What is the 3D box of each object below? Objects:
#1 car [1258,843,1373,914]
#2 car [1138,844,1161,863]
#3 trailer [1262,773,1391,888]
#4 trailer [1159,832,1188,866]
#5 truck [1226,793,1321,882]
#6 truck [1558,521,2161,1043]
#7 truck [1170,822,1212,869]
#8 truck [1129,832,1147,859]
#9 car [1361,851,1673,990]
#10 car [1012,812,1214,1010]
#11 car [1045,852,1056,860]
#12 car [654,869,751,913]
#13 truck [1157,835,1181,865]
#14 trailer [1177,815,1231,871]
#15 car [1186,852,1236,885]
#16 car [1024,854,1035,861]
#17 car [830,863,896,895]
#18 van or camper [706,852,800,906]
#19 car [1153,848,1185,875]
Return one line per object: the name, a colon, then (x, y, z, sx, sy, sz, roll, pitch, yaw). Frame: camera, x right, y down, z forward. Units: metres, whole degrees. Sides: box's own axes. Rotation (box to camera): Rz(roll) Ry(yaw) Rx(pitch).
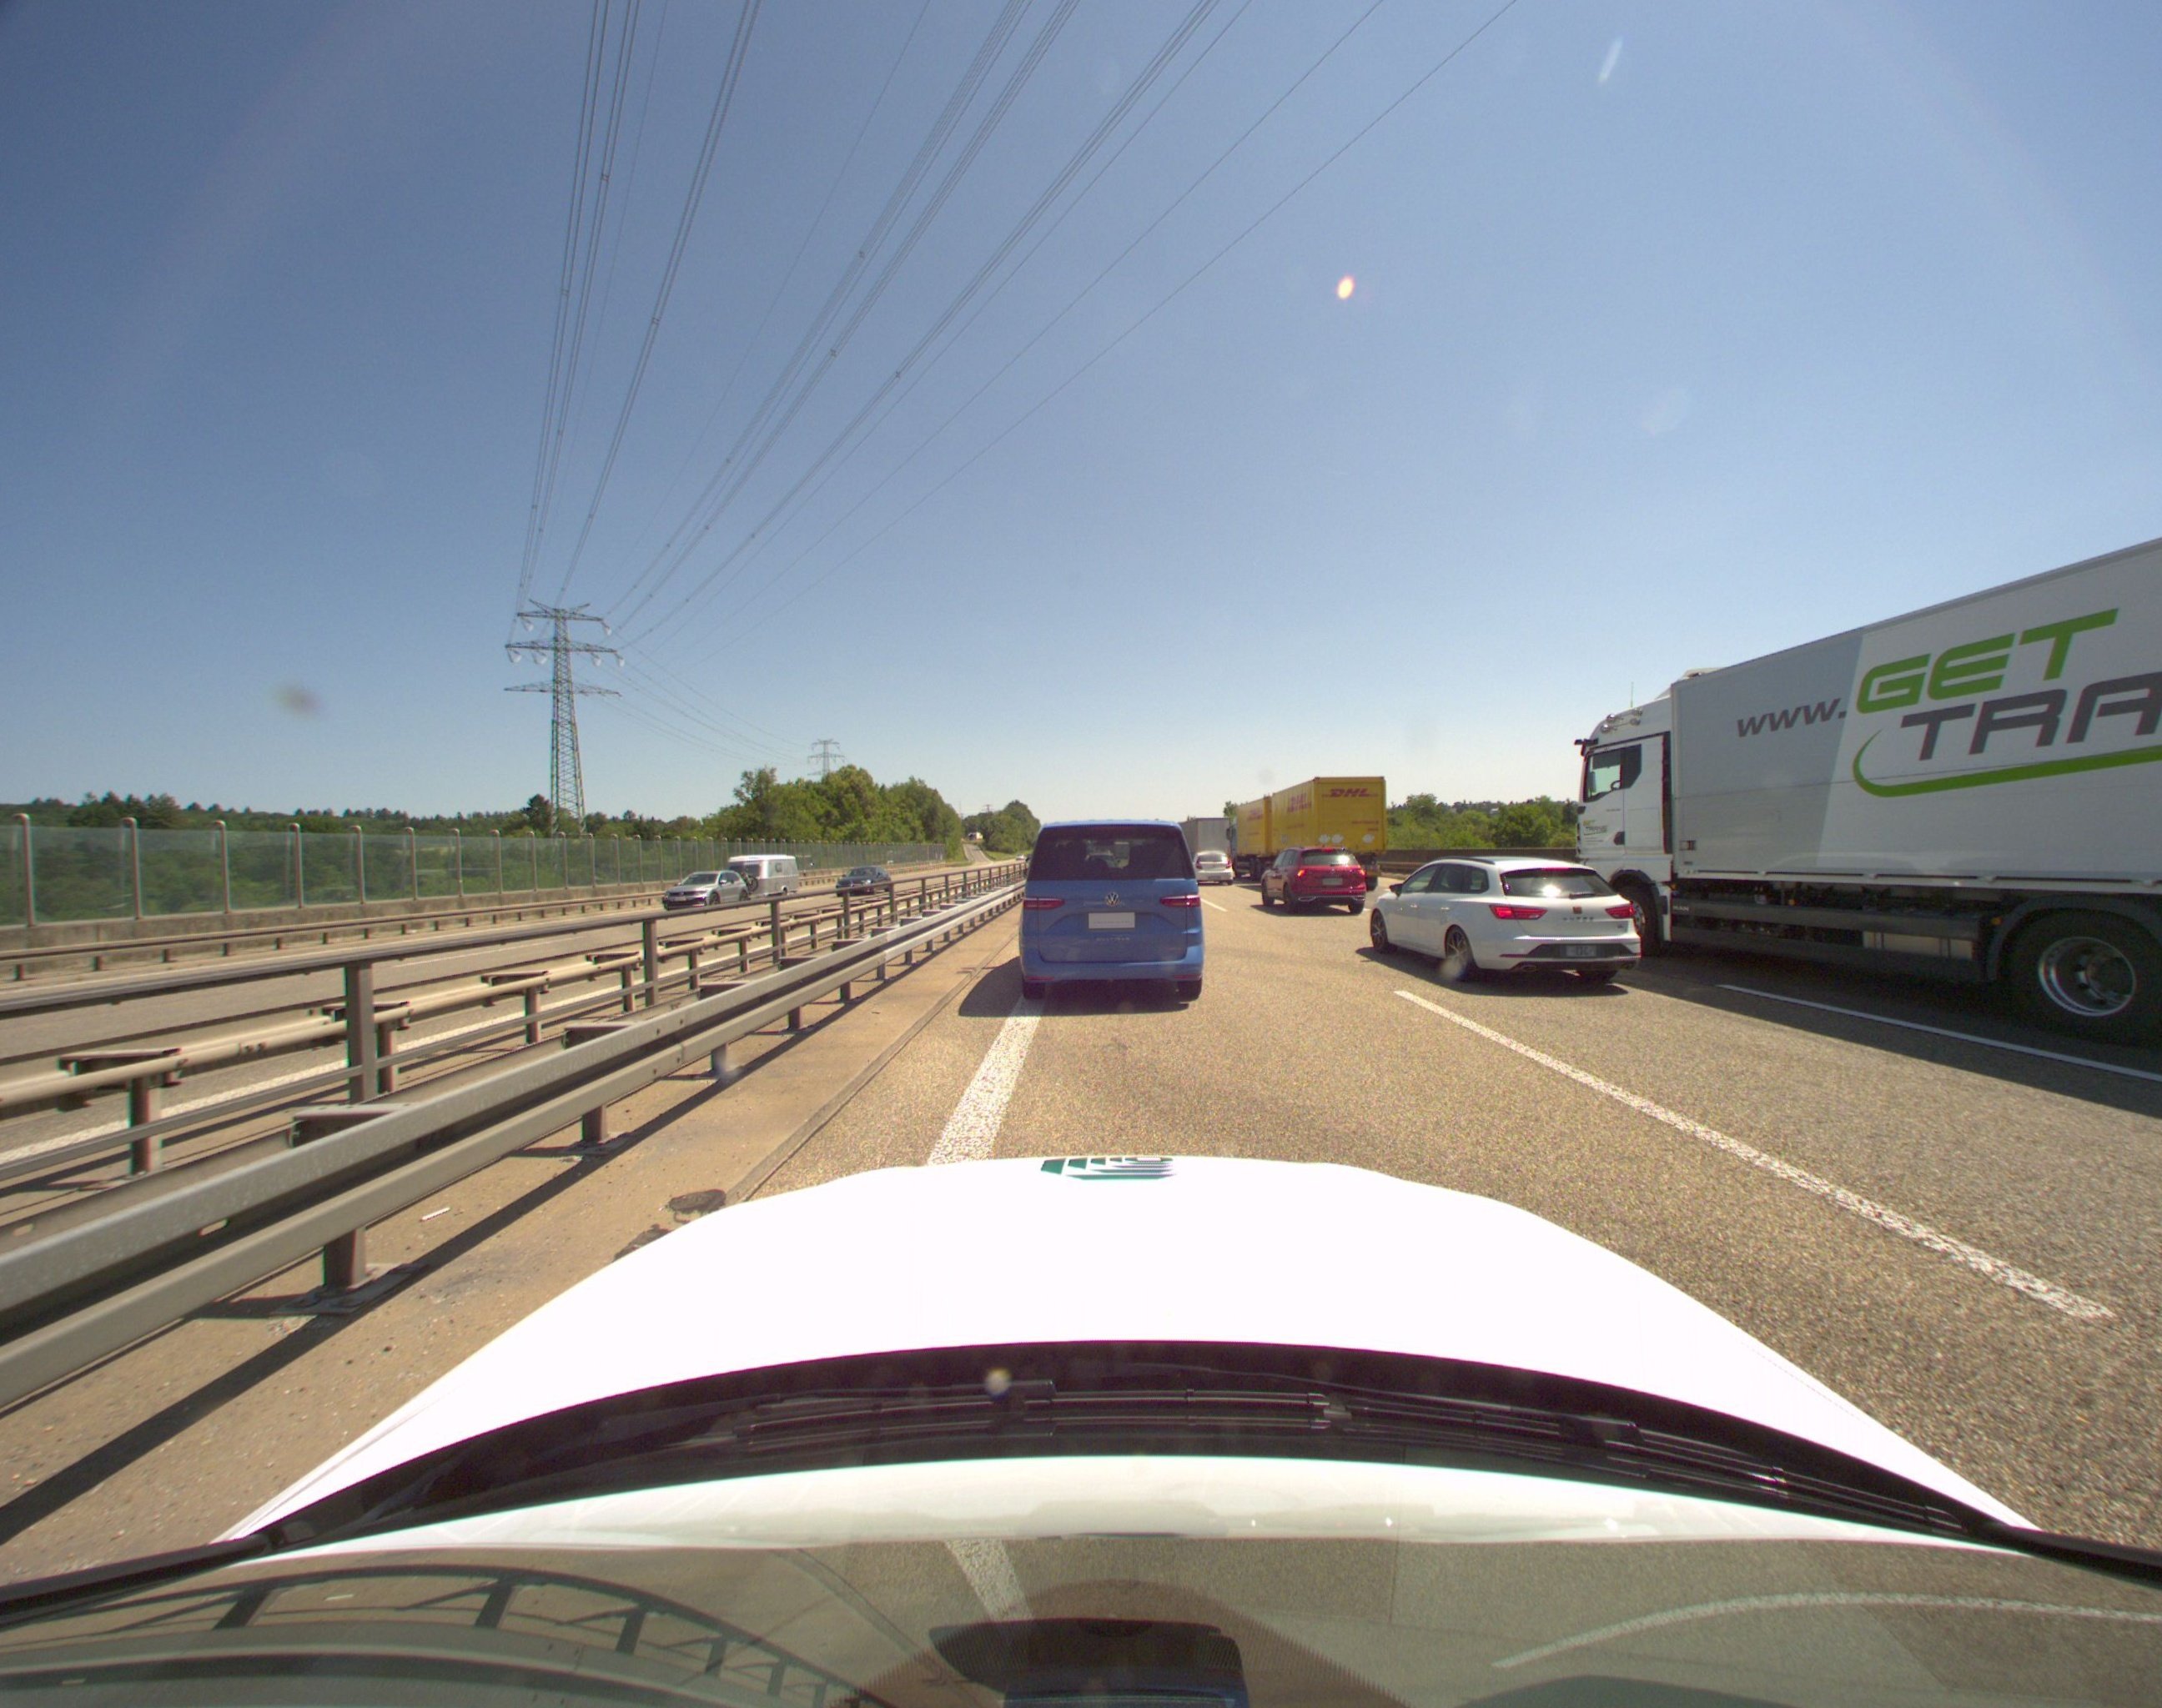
car: (5.834, 0.550, 20.717, 1.844, 1.608, 4.001, -1, 0, 1)
car: (6.086, -0.060, 72.394, 1.709, 1.540, 3.822, -3, 0, 1)
trailer: (9.576, -0.784, 33.008, 2.692, 4.023, 8.932, 0, -1, 1)
trailer: (10.909, -0.519, 96.719, 2.371, 3.744, 11.189, 0, -1, 1)
truck: (9.781, -0.716, 42.653, 2.712, 4.054, 10.338, 0, -1, 1)
truck: (8.913, -0.499, 7.503, 2.841, 3.602, 10.769, 0, 0, 1)
truck: (9.860, -0.730, 73.922, 2.760, 4.095, 6.981, 0, 0, -1)
truck: (11.429, -1.596, 163.102, 2.824, 5.040, 11.143, 0, -1, 0)
car: (5.173, 0.674, 10.415, 1.775, 1.387, 4.188, -1, 0, 0)
car: (0.351, 0.536, 9.686, 1.875, 1.837, 4.001, -1, 0, 1)
car: (-5.946, 0.421, 158.195, 1.834, 1.529, 3.559, -3, 0, 1)
car: (-15.384, 1.455, 33.370, 1.850, 1.545, 4.201, -4, -1, 1)
truck: (11.009, -0.477, 102.344, 2.359, 3.722, 6.034, 0, -1, 1)
trailer: (9.875, -0.784, 66.636, 2.746, 4.146, 11.309, 0, -1, 0)
car: (5.879, 0.626, 37.314, 1.831, 1.414, 4.003, -1, 0, 3)
car: (-9.792, 0.698, 155.807, 1.794, 1.386, 4.264, 0, -1, 1)
car: (-10.942, 1.242, 41.280, 1.849, 1.397, 4.677, -4, -1, 2)
van or camper: (-15.261, 1.125, 38.280, 1.987, 2.211, 5.537, -4, -1, 1)
car: (5.564, 0.487, 51.766, 1.709, 1.587, 3.822, -1, -1, 1)
